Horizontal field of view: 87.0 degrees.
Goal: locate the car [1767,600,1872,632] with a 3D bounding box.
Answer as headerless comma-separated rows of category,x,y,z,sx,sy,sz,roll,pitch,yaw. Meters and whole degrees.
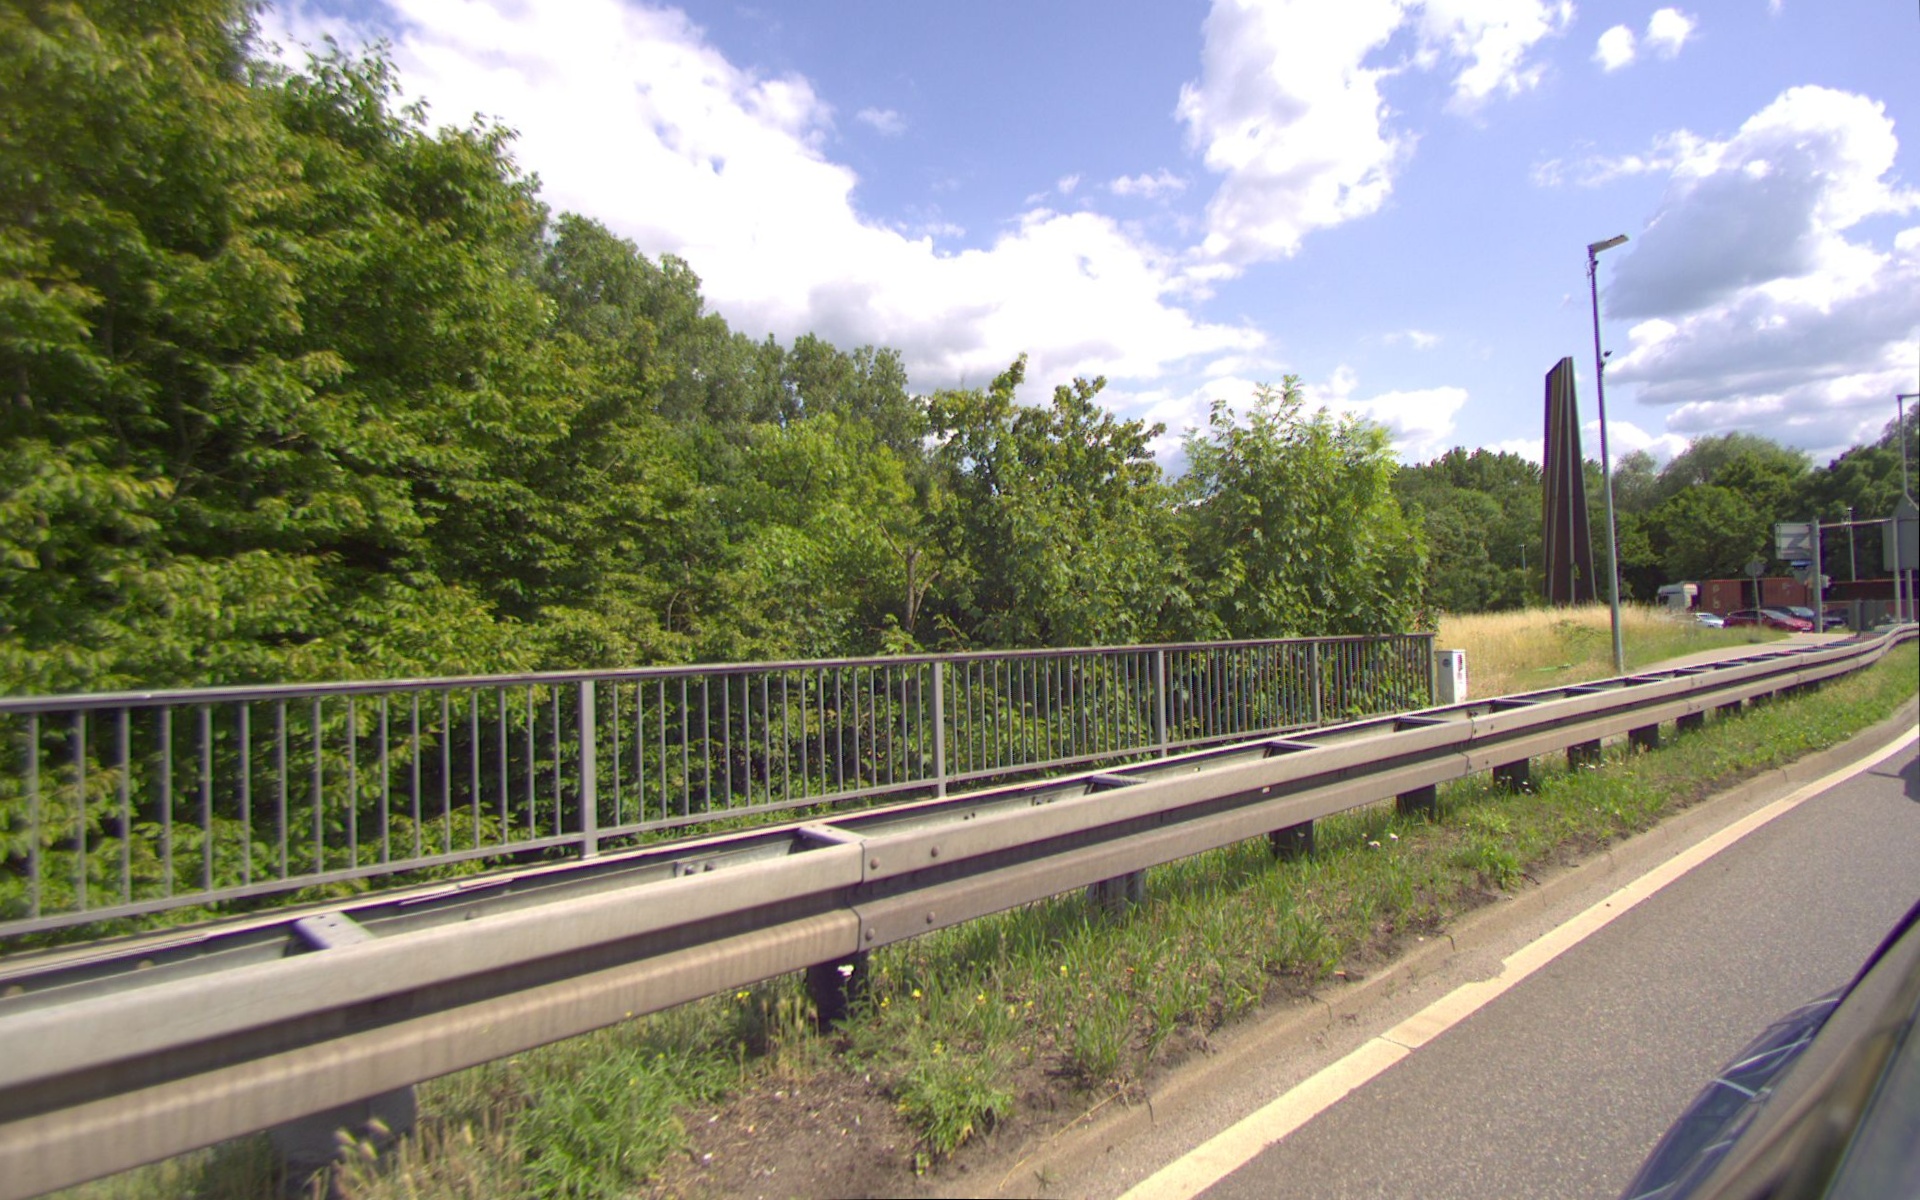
car,47.114,0.911,55.585,1.800,1.667,4.220,1,-1,-7

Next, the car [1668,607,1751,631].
car,46.277,1.198,62.579,1.613,1.393,4.220,1,-1,-7

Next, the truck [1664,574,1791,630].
truck,55.477,0.198,73.330,2.724,3.895,6.821,1,-2,-33

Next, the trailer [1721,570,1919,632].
trailer,59.044,0.136,68.113,2.727,3.899,12.322,1,-1,-34

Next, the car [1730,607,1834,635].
car,43.491,1.123,53.658,1.723,1.393,4.220,1,-1,-7

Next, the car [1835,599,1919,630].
car,51.237,0.821,55.859,1.807,1.637,4.299,-1,-1,-7
